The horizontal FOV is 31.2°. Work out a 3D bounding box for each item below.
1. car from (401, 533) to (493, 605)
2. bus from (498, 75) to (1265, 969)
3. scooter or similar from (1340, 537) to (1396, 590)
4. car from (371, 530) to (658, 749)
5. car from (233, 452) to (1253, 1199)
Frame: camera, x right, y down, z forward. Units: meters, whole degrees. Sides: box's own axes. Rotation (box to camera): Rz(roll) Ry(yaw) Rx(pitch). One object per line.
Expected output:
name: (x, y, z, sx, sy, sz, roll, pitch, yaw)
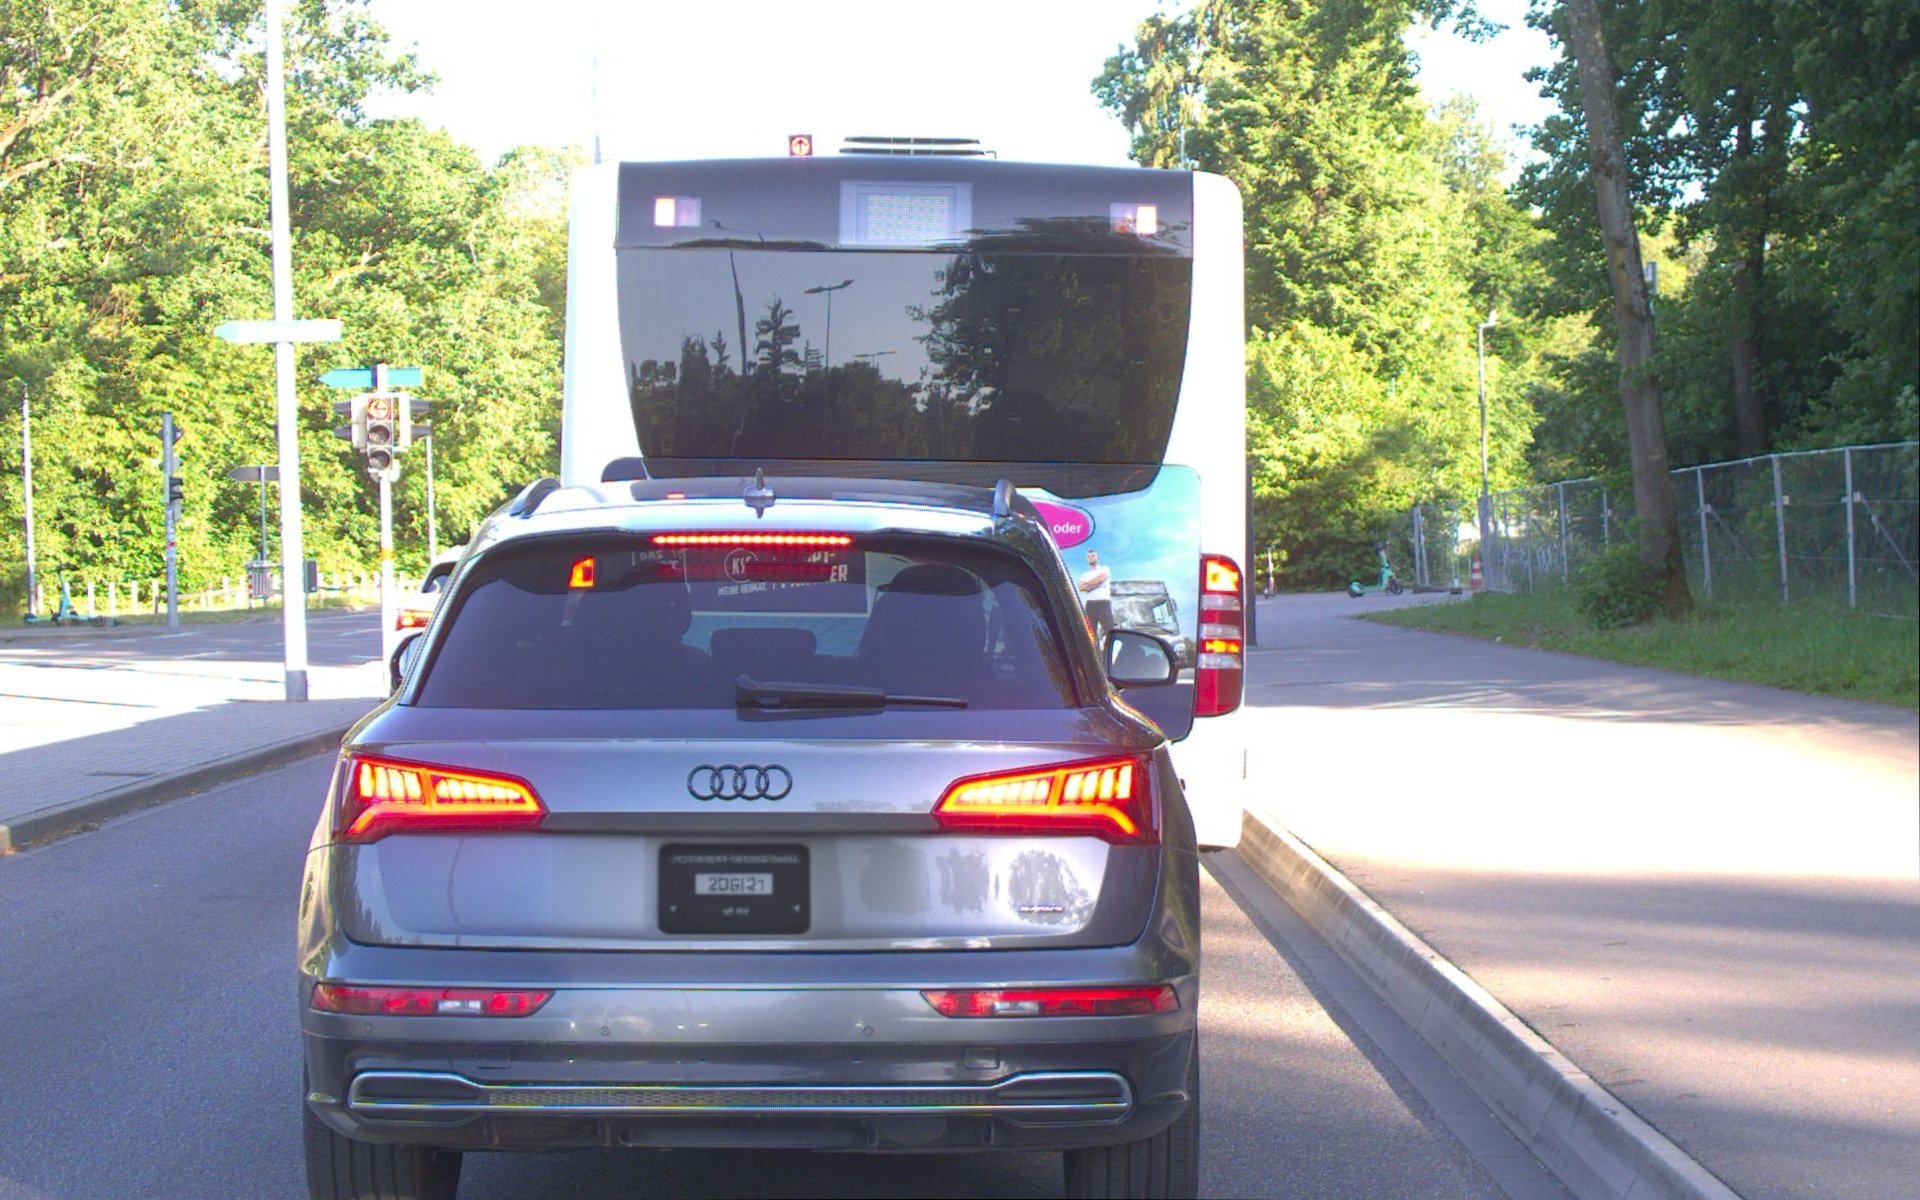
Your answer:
car: (-12.489, -0.777, 83.854, 1.993, 1.656, 4.001, -2, 1, -6)
bus: (-0.249, -0.355, 15.119, 2.678, 3.131, 5.882, 1, 2, 1)
scooter or similar: (9.259, -0.834, 77.997, 1.184, 1.170, 0.659, 1, 1, 11)
car: (-3.482, 0.255, 27.509, 1.808, 1.567, 4.000, 1, 2, -1)
car: (-0.427, 0.513, 8.359, 1.868, 1.658, 4.000, 1, 2, -1)
